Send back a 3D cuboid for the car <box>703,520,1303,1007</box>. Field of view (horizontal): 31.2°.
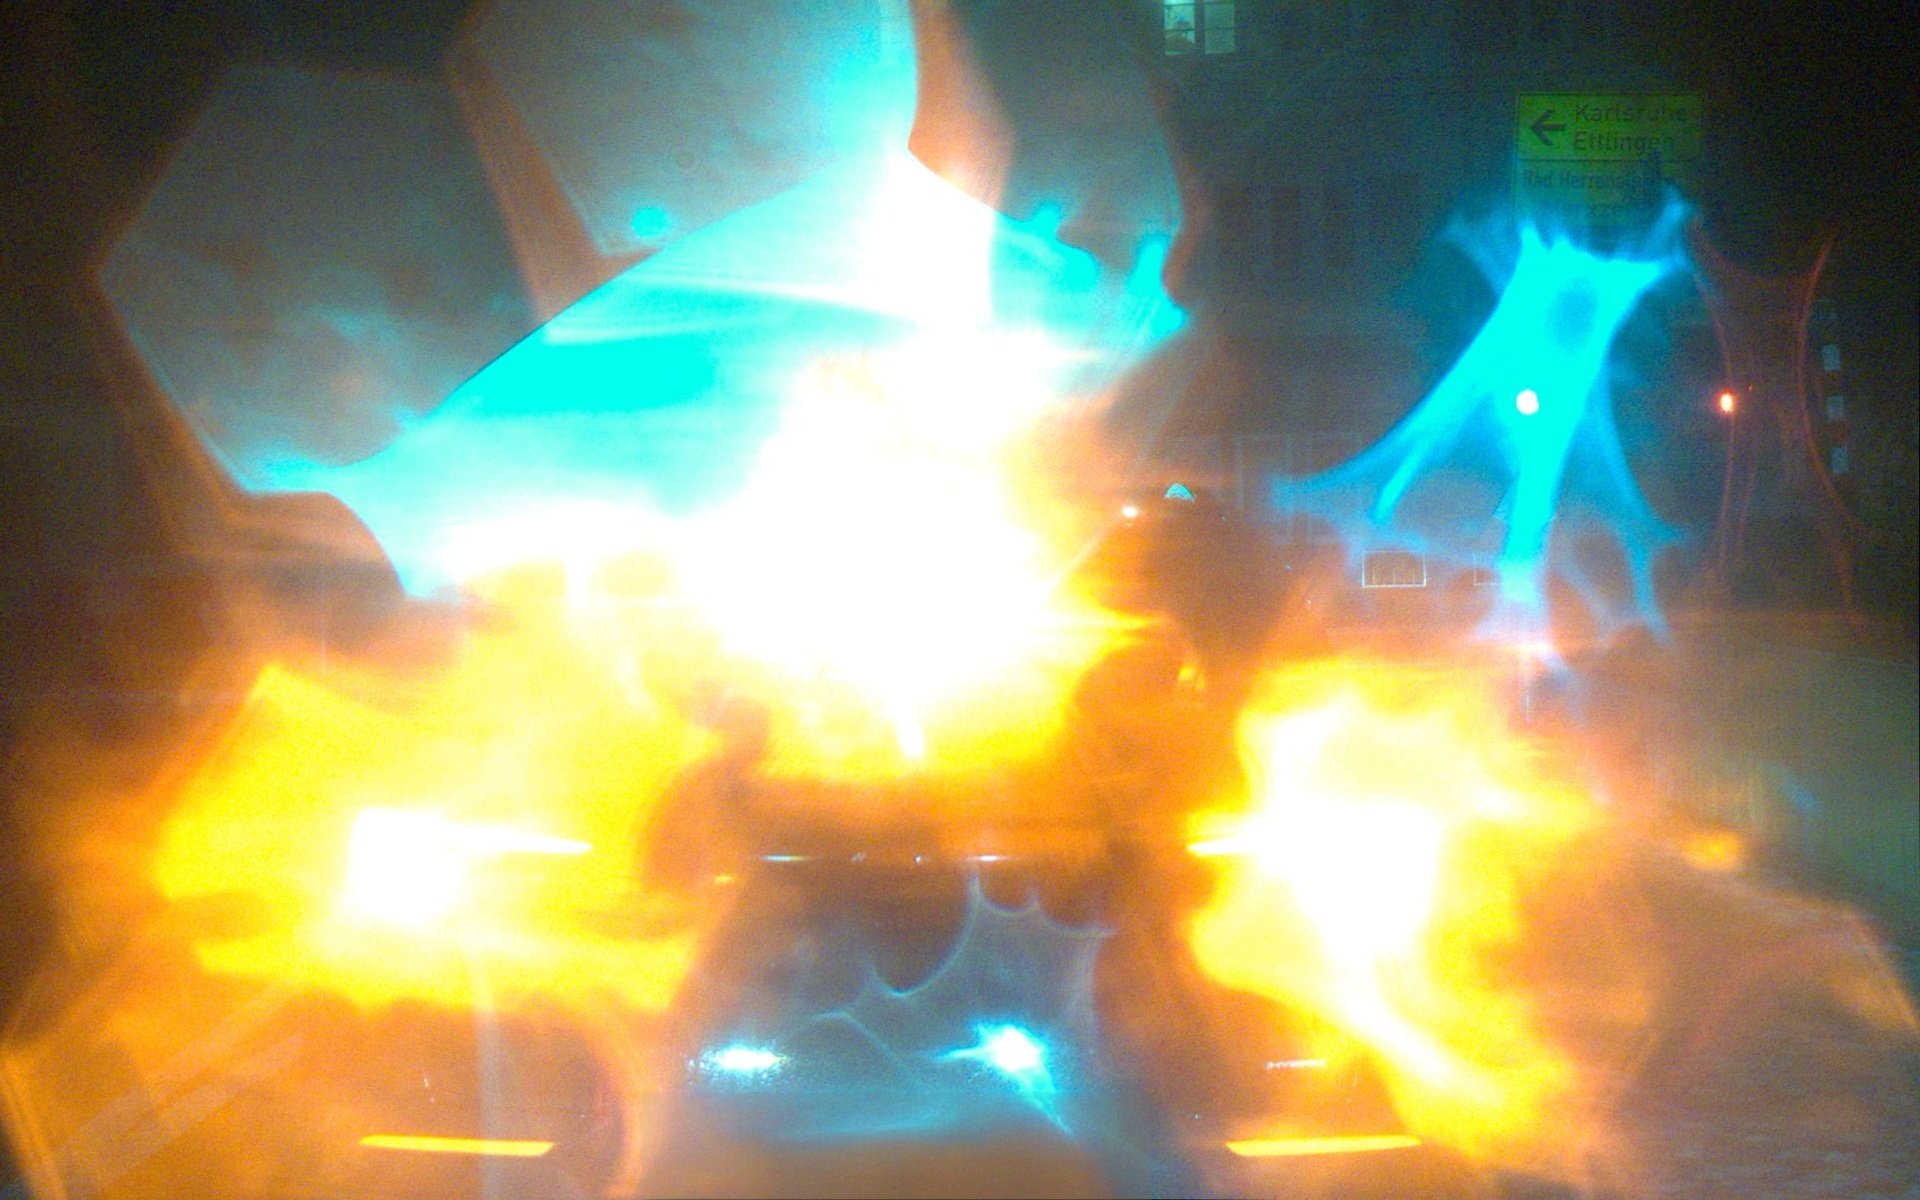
[{"bbox_3d":[0.143,0.491,13.451,1.909,1.505,4.241,-3,1,0],"label":"car"}]

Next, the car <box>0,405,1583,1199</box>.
[{"bbox_3d":[-0.258,0.574,6.547,2.057,1.672,4.140,1,1,-1],"label":"car"}]

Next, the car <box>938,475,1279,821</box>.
[{"bbox_3d":[1.068,0.201,22.465,1.771,1.940,4.254,4,3,7],"label":"car"}]
